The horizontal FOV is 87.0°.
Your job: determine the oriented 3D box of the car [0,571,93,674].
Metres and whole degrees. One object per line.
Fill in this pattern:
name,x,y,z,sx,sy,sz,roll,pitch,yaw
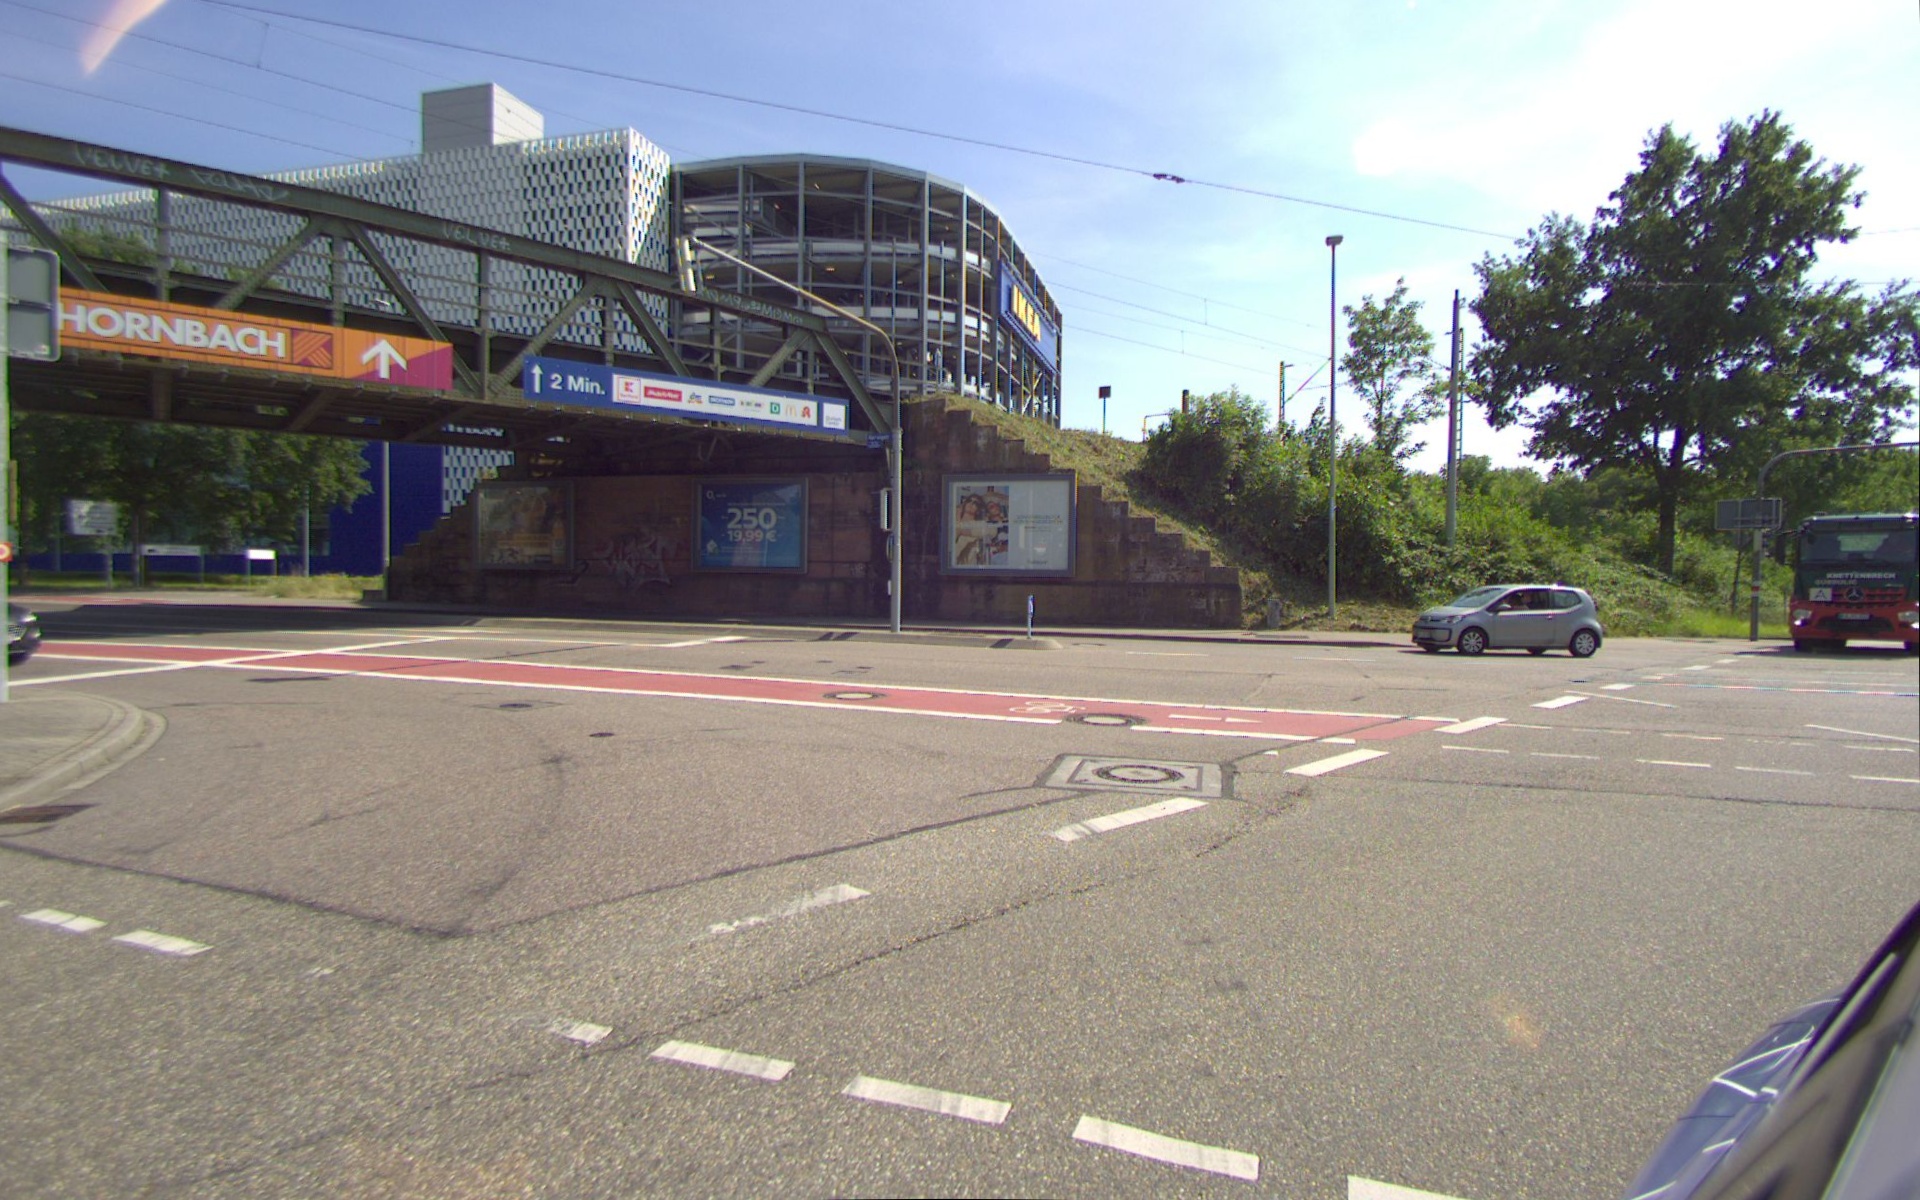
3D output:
car,-15.328,0.282,14.707,4.435,1.426,1.992,1,1,14

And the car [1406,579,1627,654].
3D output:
car,11.410,0.319,20.909,3.605,1.455,1.708,0,1,-3

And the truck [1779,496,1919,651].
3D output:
truck,22.538,-0.617,24.798,7.356,3.307,2.772,-1,1,-43
